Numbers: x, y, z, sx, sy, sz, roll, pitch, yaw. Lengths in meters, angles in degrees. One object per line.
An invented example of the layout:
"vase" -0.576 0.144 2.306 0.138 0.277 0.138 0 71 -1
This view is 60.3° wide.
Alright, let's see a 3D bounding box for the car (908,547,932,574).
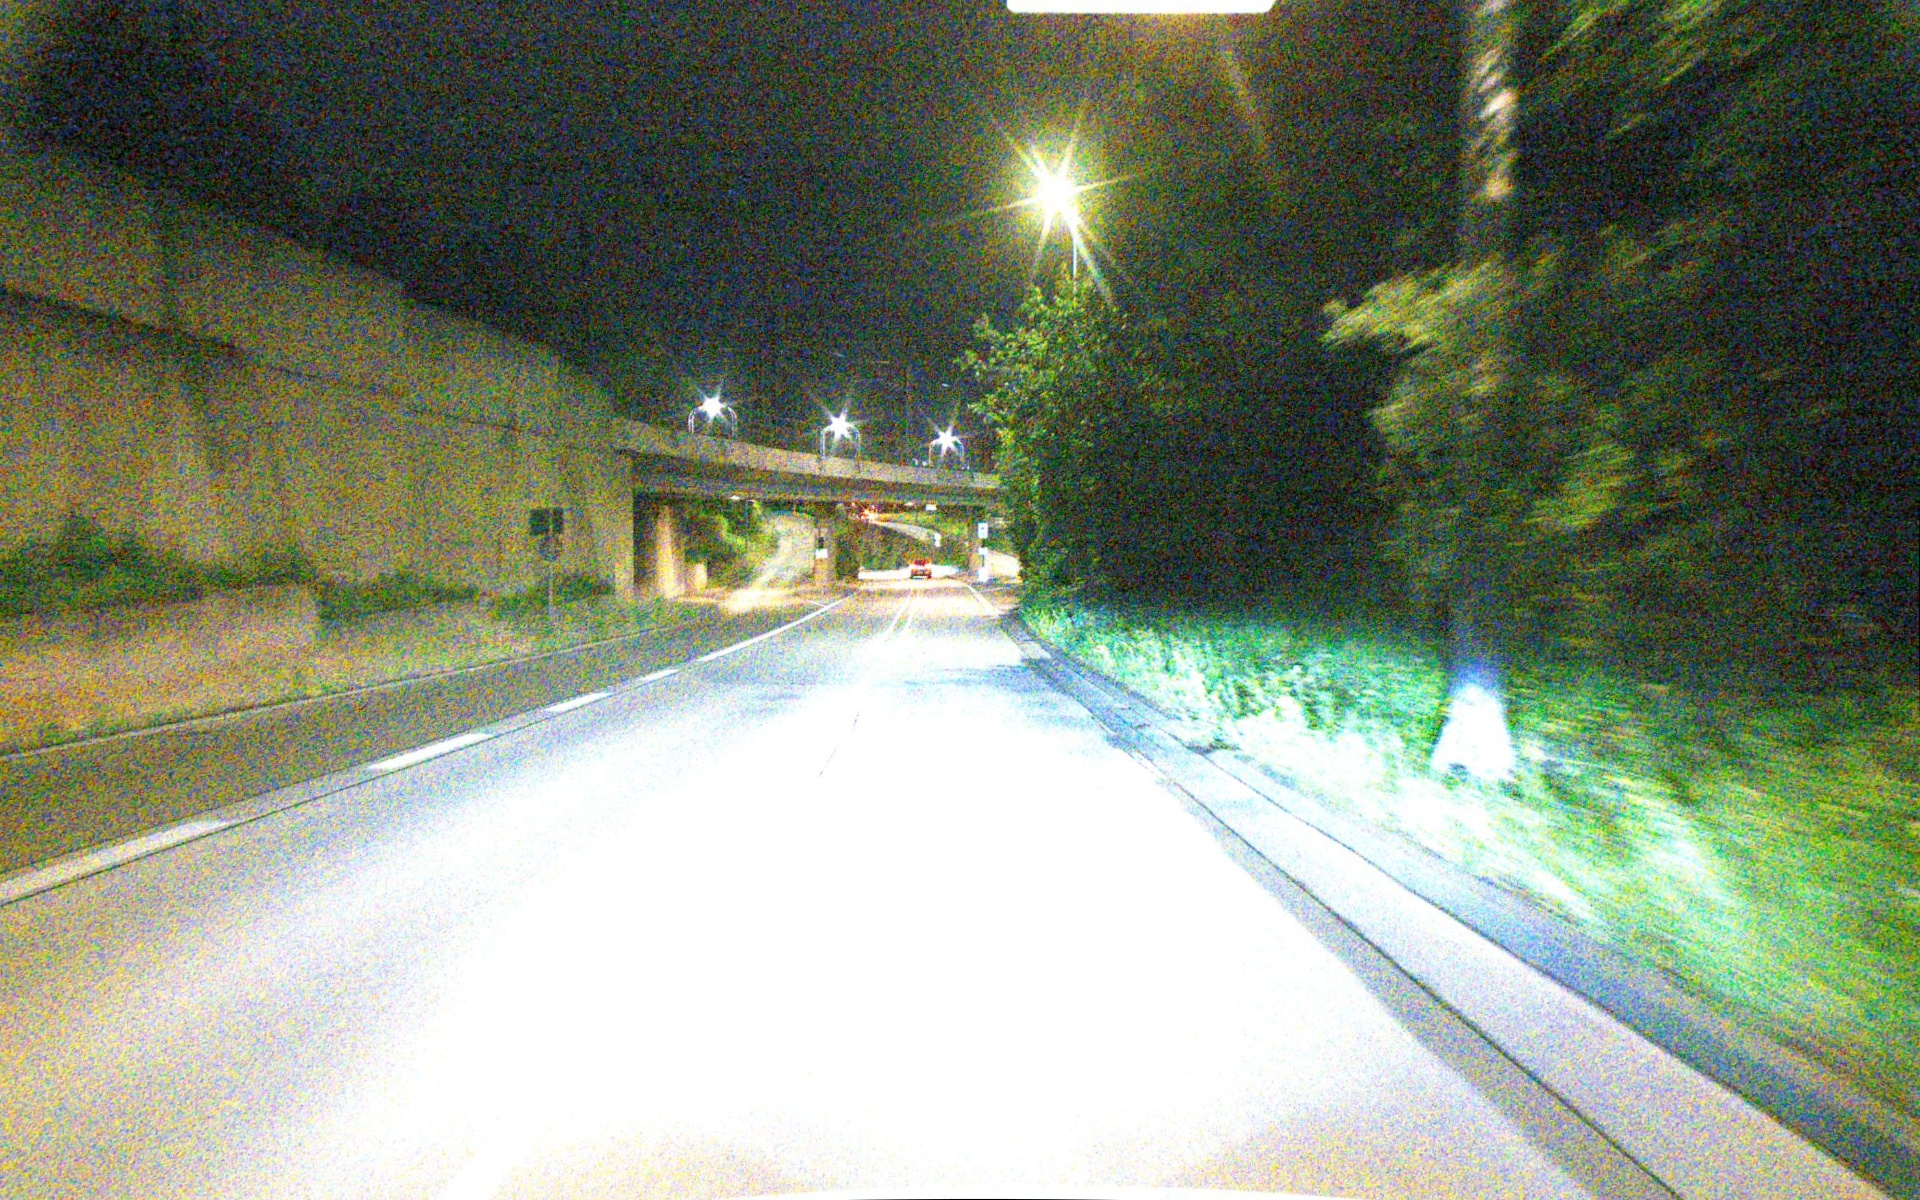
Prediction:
"car" -3.290 -3.268 136.840 1.880 2.049 4.122 2 0 -1
